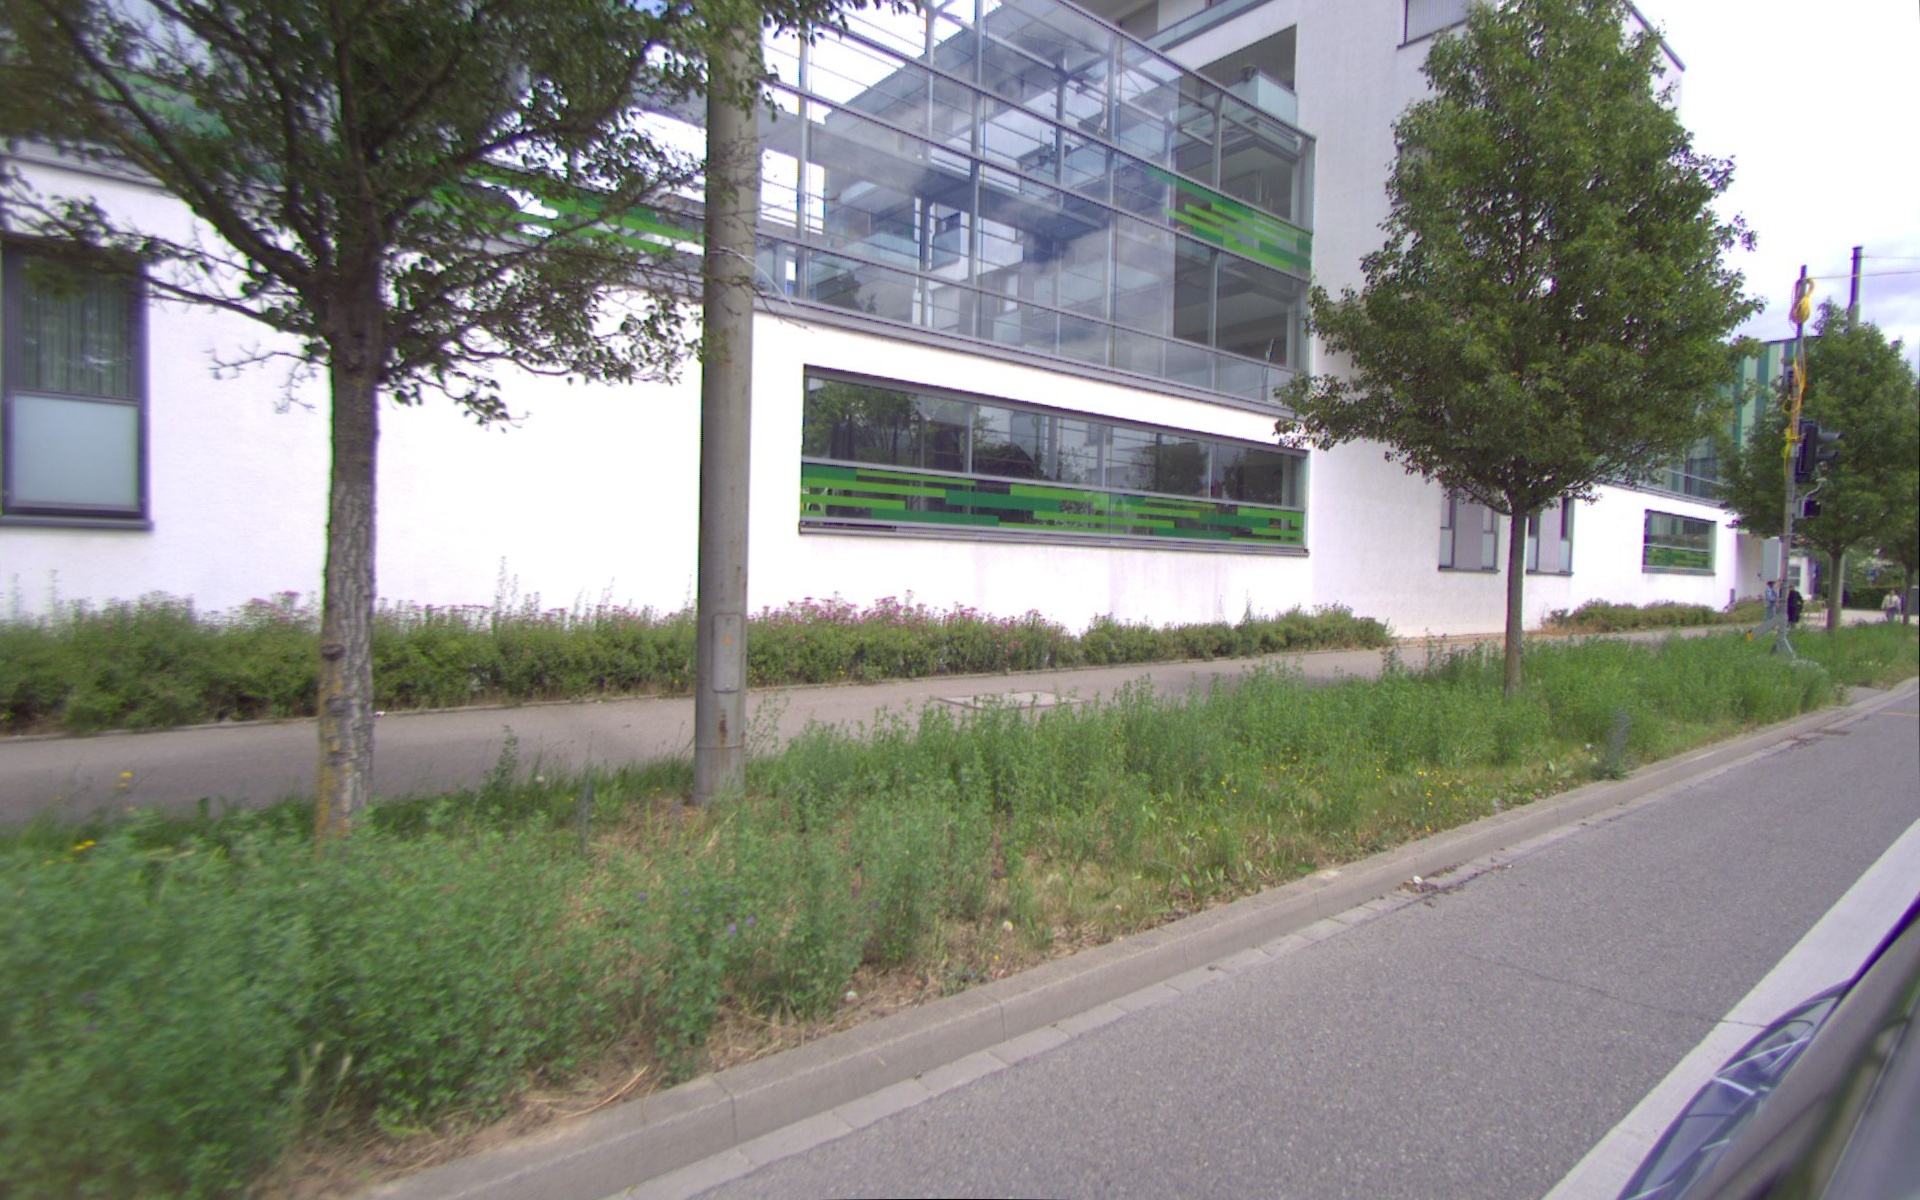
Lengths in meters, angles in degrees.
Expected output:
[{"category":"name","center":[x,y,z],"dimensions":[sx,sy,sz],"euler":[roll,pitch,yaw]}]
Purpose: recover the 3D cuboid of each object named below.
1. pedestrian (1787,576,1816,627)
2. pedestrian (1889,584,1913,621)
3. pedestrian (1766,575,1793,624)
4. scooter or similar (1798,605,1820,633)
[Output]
[{"category":"pedestrian","center":[28.524,0.037,34.301],"dimensions":[0.542,1.675,0.606],"euler":[0,3,-40]},{"category":"pedestrian","center":[40.378,0.102,43.407],"dimensions":[0.853,1.570,0.582],"euler":[0,3,-40]},{"category":"pedestrian","center":[28.510,-0.020,35.220],"dimensions":[0.596,1.675,0.551],"euler":[0,3,-40]},{"category":"scooter or similar","center":[28.956,0.631,34.520],"dimensions":[0.670,0.916,0.422],"euler":[0,3,-40]}]
